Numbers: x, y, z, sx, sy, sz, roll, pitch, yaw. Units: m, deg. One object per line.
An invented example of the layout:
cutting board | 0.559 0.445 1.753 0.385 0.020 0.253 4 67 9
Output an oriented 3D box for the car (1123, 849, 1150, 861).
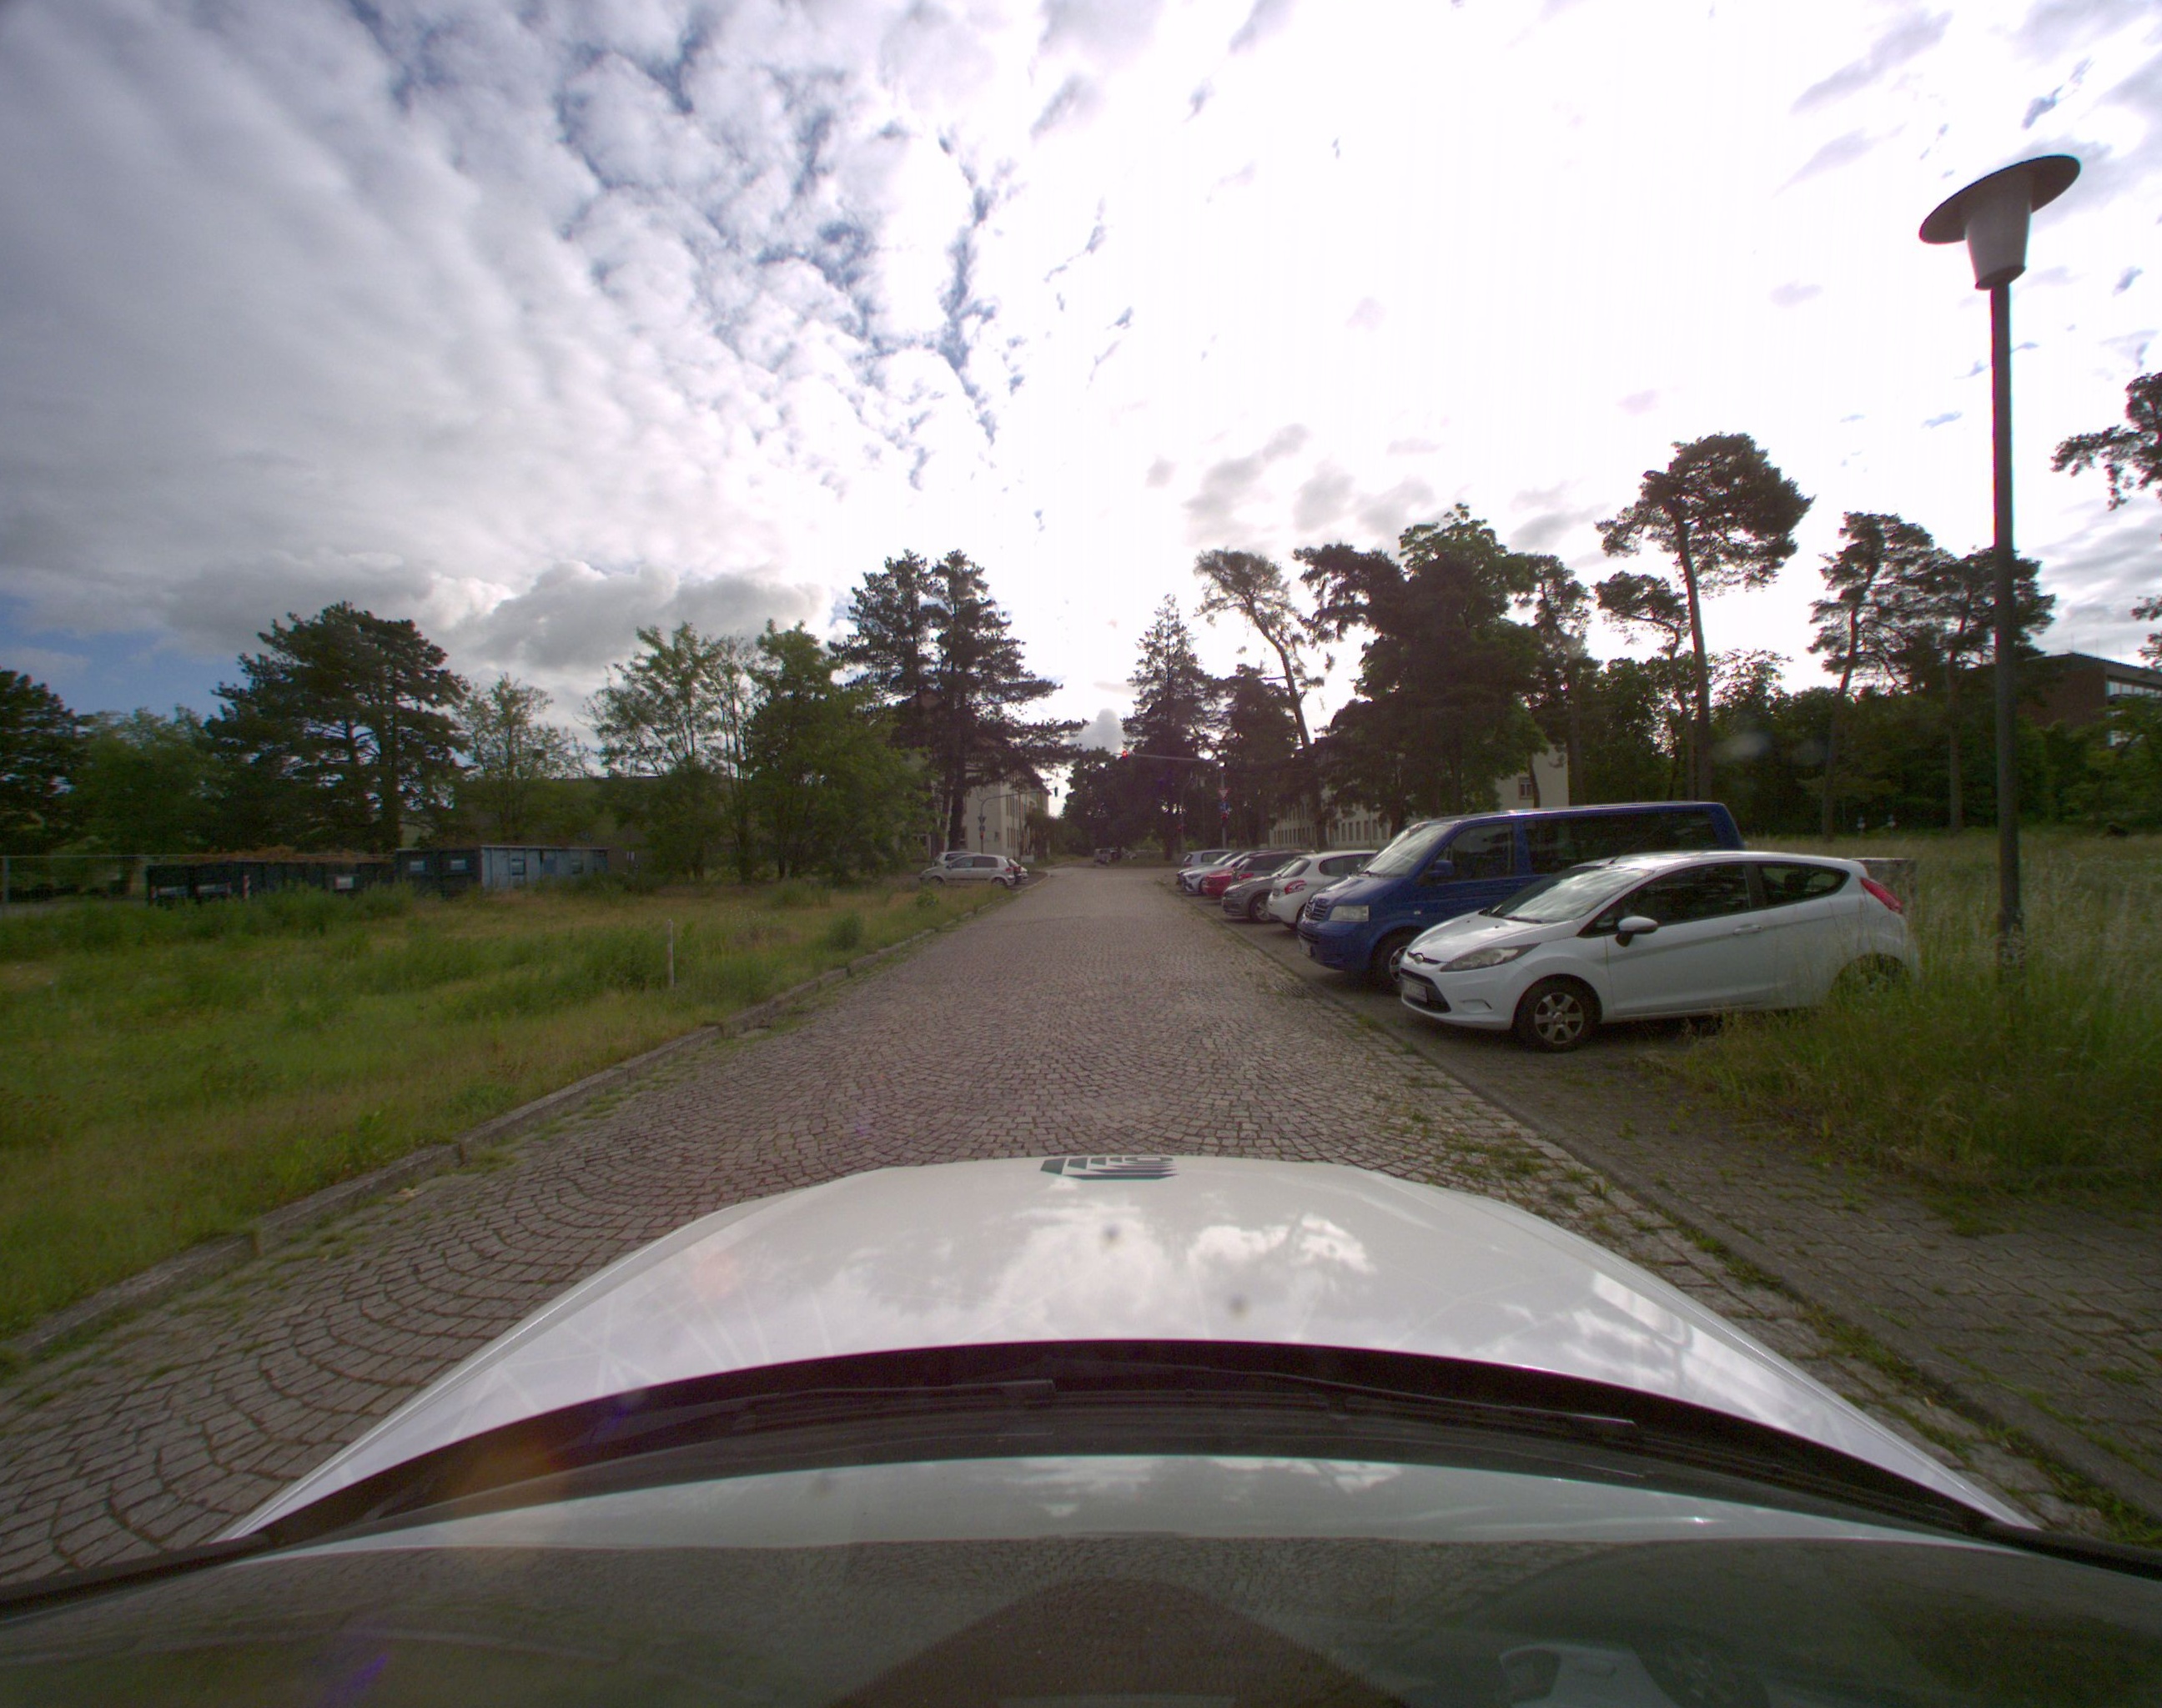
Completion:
car | 7.092 0.121 104.057 3.223 1.416 1.724 -2 0 -1

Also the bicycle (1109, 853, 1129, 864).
bicycle | 3.951 0.449 84.261 1.966 1.069 0.582 -2 0 -28

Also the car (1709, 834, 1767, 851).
car | 60.091 -1.021 74.559 3.930 1.421 1.652 1 0 4

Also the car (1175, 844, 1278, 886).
car | 5.871 0.434 33.230 3.911 1.477 1.644 -3 0 3

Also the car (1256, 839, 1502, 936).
car | 5.356 0.576 15.005 3.849 1.472 1.758 -3 0 0

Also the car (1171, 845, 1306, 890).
car | 5.870 0.488 30.777 4.667 1.416 1.870 -3 0 -1

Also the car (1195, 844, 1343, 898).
car | 5.868 0.527 25.819 4.246 1.416 1.871 -3 0 1

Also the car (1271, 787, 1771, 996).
car | 4.916 0.392 9.661 4.792 1.945 2.003 -3 0 0

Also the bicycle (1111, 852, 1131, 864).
bicycle | 4.053 0.405 82.141 1.952 1.132 0.587 -1 0 -6

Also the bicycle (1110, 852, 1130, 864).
bicycle | 4.010 0.428 82.775 1.952 1.117 0.587 -1 0 -6

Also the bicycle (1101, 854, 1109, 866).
bicycle | 2.352 0.554 78.977 0.602 1.132 1.959 -1 0 -4

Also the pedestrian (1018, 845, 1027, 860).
pedestrian | -7.099 -0.152 98.116 0.778 1.837 0.734 -2 0 -30

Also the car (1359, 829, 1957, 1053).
car | 4.676 0.651 7.072 3.849 1.472 1.841 -3 0 0

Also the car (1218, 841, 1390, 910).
car | 5.581 0.516 20.711 3.849 1.472 1.758 -3 0 0

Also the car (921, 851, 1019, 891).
car | -4.399 0.653 32.633 3.692 1.479 1.581 1 0 -2

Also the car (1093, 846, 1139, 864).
car | 4.244 0.085 100.232 5.357 1.925 2.020 -3 0 -8

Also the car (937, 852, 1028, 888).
car | -4.219 0.680 35.229 3.735 1.428 1.581 1 0 -2

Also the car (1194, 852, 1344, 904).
car | 5.310 0.660 23.303 3.849 1.236 1.758 -3 0 0

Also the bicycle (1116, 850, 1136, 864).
bicycle | 4.573 0.332 83.595 1.952 1.384 0.587 -1 0 -6

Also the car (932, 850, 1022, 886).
car | -4.801 0.619 38.021 3.937 1.563 1.649 1 0 -2

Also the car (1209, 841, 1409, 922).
car | 4.891 0.576 17.880 3.849 1.472 1.758 -3 0 0

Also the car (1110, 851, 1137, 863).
car | 5.029 0.350 96.851 3.000 1.268 1.533 -2 0 -5

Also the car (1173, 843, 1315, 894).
car | 5.568 0.476 28.095 4.418 1.416 1.866 -3 0 -8

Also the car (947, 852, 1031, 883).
car | -4.521 0.646 40.560 3.934 1.421 1.650 1 0 1
